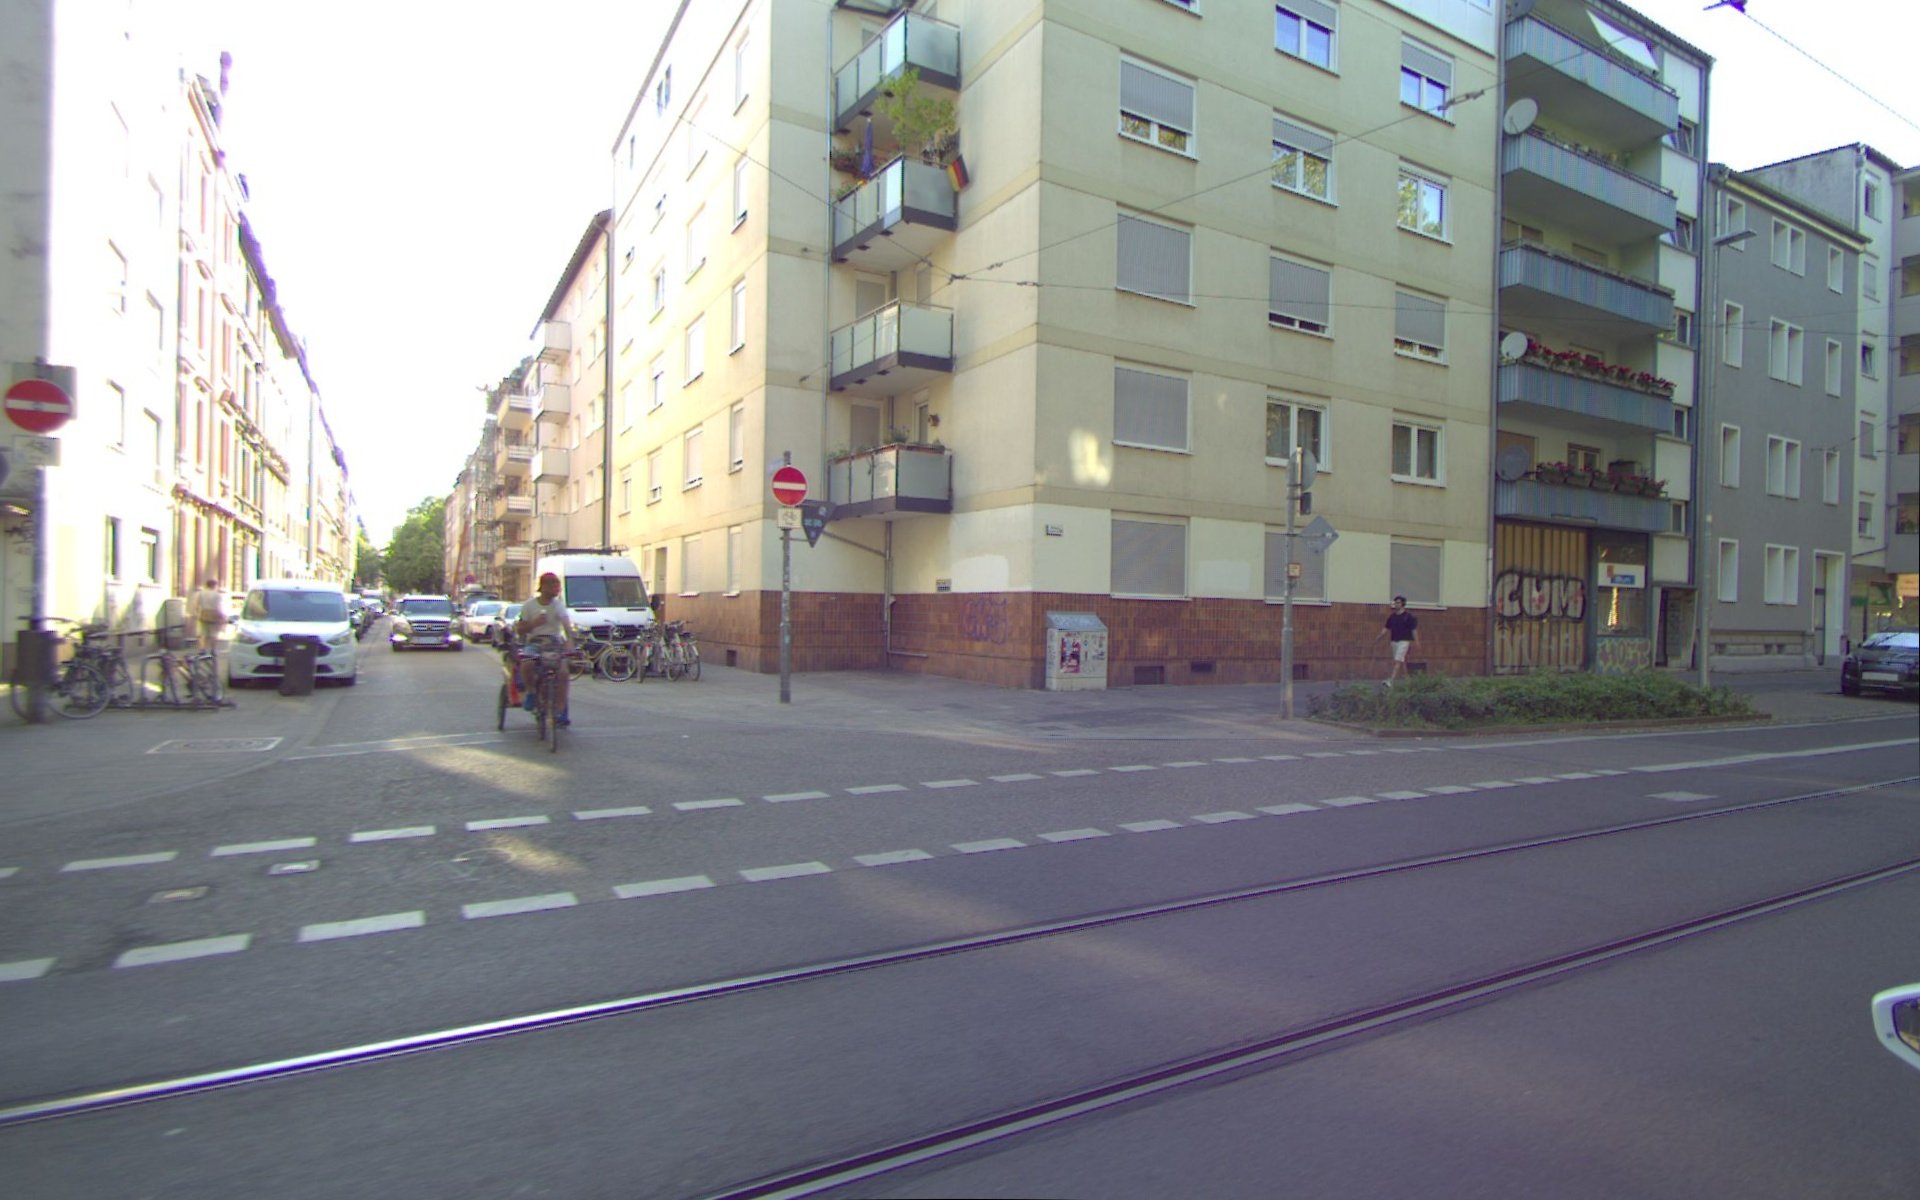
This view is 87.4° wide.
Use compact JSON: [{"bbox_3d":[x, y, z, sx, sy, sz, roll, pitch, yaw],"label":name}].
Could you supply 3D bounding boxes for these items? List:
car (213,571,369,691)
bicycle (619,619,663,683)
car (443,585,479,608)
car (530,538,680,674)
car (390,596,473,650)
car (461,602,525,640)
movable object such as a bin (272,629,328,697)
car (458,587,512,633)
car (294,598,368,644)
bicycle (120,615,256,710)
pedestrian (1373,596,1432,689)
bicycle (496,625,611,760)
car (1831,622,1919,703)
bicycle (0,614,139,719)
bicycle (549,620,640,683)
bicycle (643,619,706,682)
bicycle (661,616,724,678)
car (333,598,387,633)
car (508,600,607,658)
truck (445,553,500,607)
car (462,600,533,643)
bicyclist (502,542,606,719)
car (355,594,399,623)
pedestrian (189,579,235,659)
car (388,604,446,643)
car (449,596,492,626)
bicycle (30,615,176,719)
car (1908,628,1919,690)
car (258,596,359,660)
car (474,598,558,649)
[{"bbox_3d":[-11.914,0.499,17.982,2.017,1.846,4.845,1,-1,-33],"label":"car"},{"bbox_3d":[-6.143,0.973,19.291,0.576,1.172,1.744,1,-2,-25],"label":"bicycle"},{"bbox_3d":[-35.430,-0.245,71.251,2.006,1.519,3.926,1,-1,-31],"label":"car"},{"bbox_3d":[-8.399,0.157,23.379,2.146,2.759,5.778,1,-1,-31],"label":"car"},{"bbox_3d":[-16.054,0.672,30.434,2.006,1.519,3.926,1,-1,-31],"label":"car"},{"bbox_3d":[-19.965,0.876,42.850,2.077,1.519,3.926,1,-1,-31],"label":"car"},{"bbox_3d":[-10.044,0.943,15.292,0.636,0.986,0.588,1,-1,-41],"label":"movable object such as a bin"},{"bbox_3d":[-23.305,0.495,49.231,2.006,2.163,3.926,1,-1,-31],"label":"car"},{"bbox_3d":[-21.884,0.719,35.069,2.006,1.519,3.927,1,-1,-30],"label":"car"},{"bbox_3d":[-10.269,0.813,13.454,0.562,1.172,1.948,1,-2,-10],"label":"bicycle"},{"bbox_3d":[8.987,0.858,20.414,0.954,1.850,0.660,1,0,-32],"label":"pedestrian"},{"bbox_3d":[-4.418,0.902,10.776,0.909,1.172,2.785,1,0,-26],"label":"bicycle"},{"bbox_3d":[22.371,1.422,23.572,4.194,1.673,1.693,1,2,-32],"label":"car"},{"bbox_3d":[-10.828,0.781,12.202,0.563,1.172,1.945,1,-2,-16],"label":"bicycle"},{"bbox_3d":[-6.949,0.975,19.123,1.571,1.172,0.585,0,-2,16],"label":"bicycle"},{"bbox_3d":[-5.577,0.981,19.573,0.579,1.172,1.736,2,-3,-38],"label":"bicycle"},{"bbox_3d":[-5.280,0.914,19.772,0.579,1.172,1.736,2,-3,-38],"label":"bicycle"},{"bbox_3d":[-27.467,0.692,46.084,2.006,1.519,3.927,1,-1,-30],"label":"car"},{"bbox_3d":[-11.487,0.794,28.518,2.006,1.519,3.926,1,-1,-31],"label":"car"},{"bbox_3d":[-26.892,-1.043,55.300,2.146,2.759,5.778,1,-1,-31],"label":"truck"},{"bbox_3d":[-17.376,0.792,37.678,2.006,1.519,3.926,1,-1,-31],"label":"car"},{"bbox_3d":[-4.195,0.304,10.364,0.896,1.727,0.868,1,0,-27],"label":"bicyclist"},{"bbox_3d":[-32.082,0.485,55.318,2.005,1.519,3.927,1,-1,-30],"label":"car"},{"bbox_3d":[-17.298,0.438,23.239,0.758,1.824,0.827,1,0,-34],"label":"pedestrian"},{"bbox_3d":[-22.405,0.933,41.437,2.005,1.519,3.928,1,-1,-29],"label":"car"},{"bbox_3d":[-29.515,0.671,60.529,2.006,1.704,3.926,1,-1,-31],"label":"car"},{"bbox_3d":[-10.439,0.798,12.323,0.563,1.172,1.945,1,-2,-16],"label":"bicycle"},{"bbox_3d":[26.663,1.596,26.163,4.192,1.565,1.694,2,2,-30],"label":"car"},{"bbox_3d":[-16.861,0.702,26.182,2.006,1.519,3.926,1,-1,-31],"label":"car"},{"bbox_3d":[-14.261,0.739,32.132,2.006,1.519,3.926,1,-1,-31],"label":"car"}]
